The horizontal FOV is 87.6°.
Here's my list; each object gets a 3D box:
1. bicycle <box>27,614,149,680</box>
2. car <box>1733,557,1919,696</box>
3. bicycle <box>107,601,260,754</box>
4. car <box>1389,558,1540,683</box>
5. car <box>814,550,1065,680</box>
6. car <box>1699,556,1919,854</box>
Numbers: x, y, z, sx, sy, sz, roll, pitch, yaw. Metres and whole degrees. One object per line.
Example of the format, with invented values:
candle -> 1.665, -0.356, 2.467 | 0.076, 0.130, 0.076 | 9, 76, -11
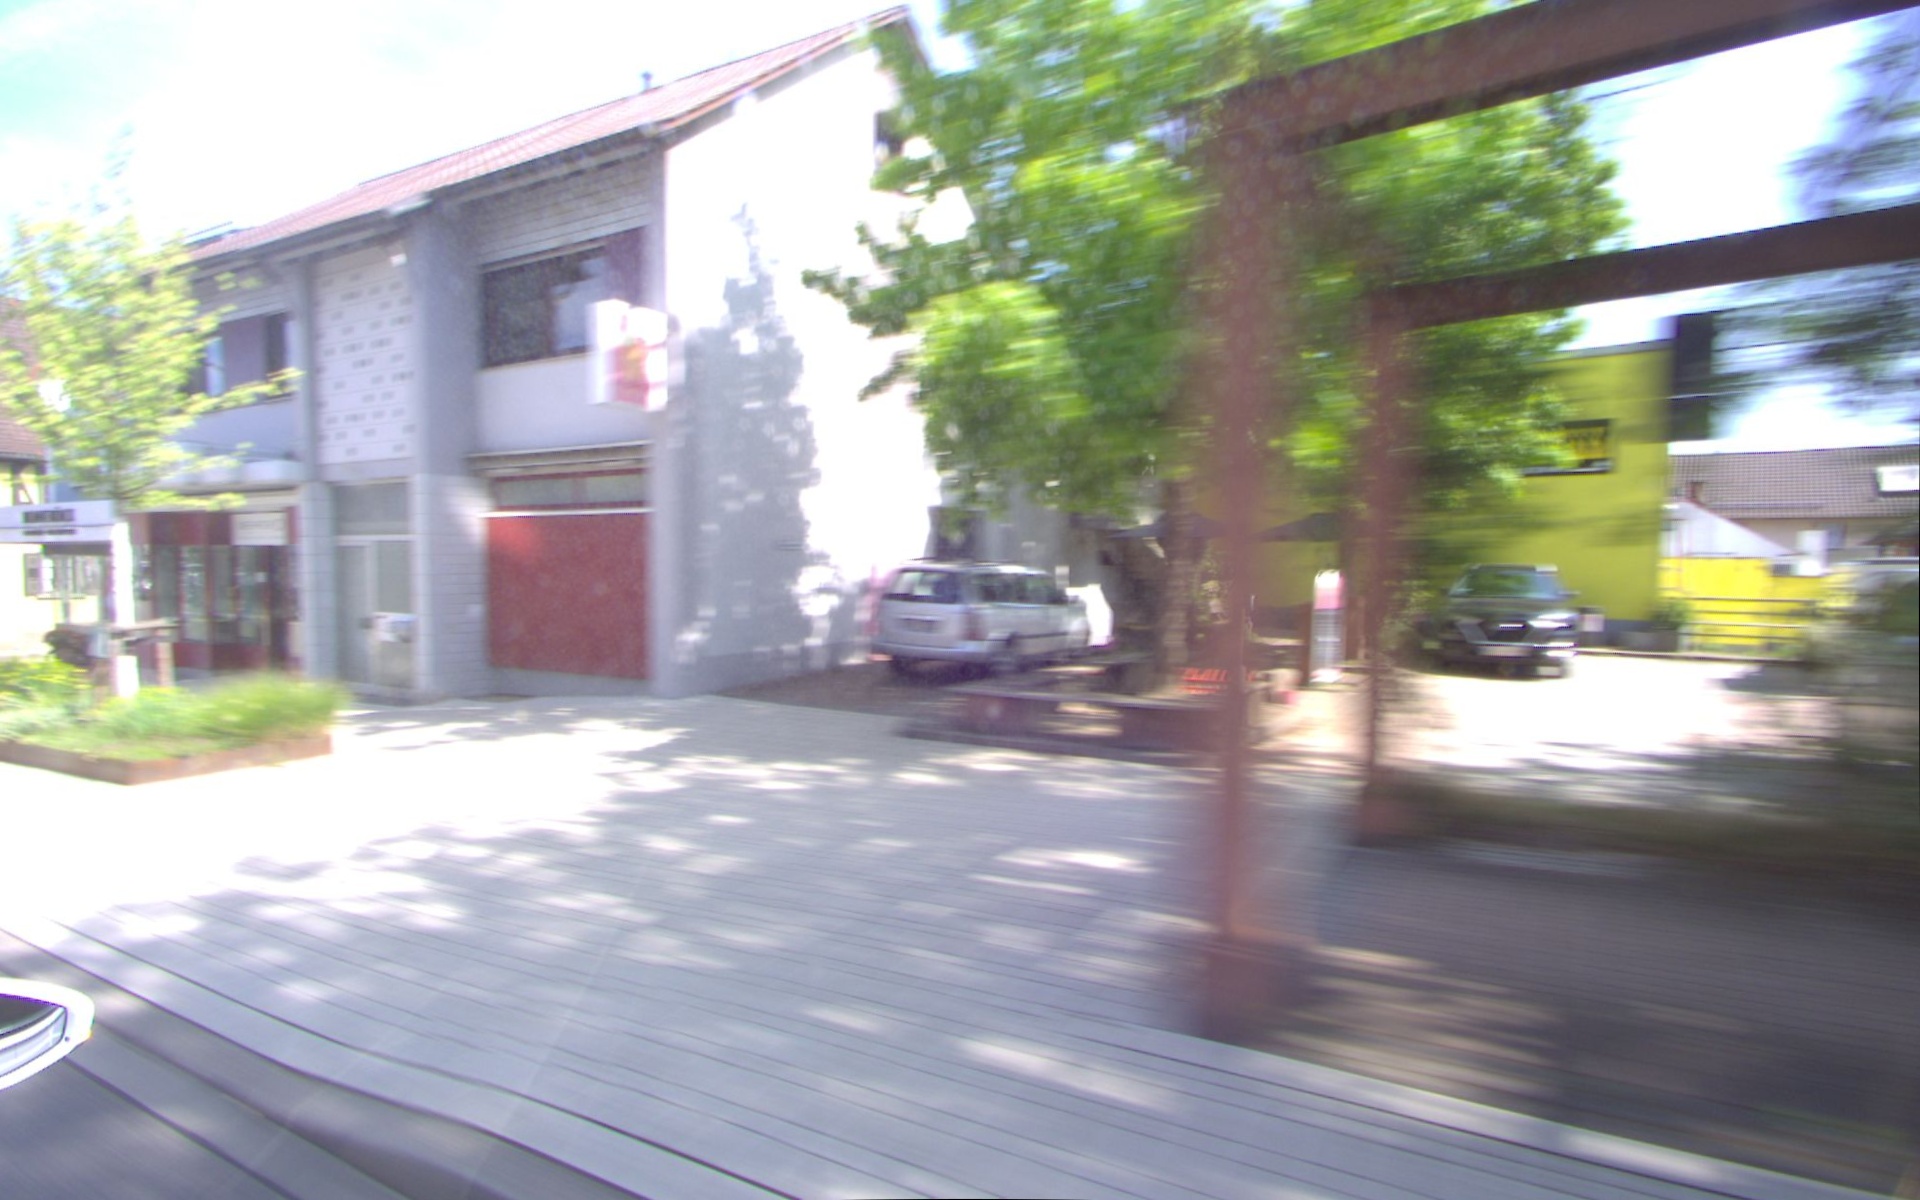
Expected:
bicycle -> -18.125, 0.947, 20.851 | 0.541, 1.251, 1.799 | 1, 2, 31
car -> 12.936, 0.316, 14.703 | 1.855, 1.764, 4.169 | 0, 1, 29
bicycle -> -7.441, 0.683, 9.563 | 1.965, 1.298, 0.527 | 1, 5, 36
car -> 8.348, 0.209, 16.385 | 1.883, 1.730, 3.979 | 3, 4, 30
car -> -0.145, 0.163, 13.723 | 1.700, 1.530, 3.689 | 0, 1, 32
car -> 6.570, 0.523, 6.963 | 1.699, 1.565, 4.475 | 0, 1, 29
